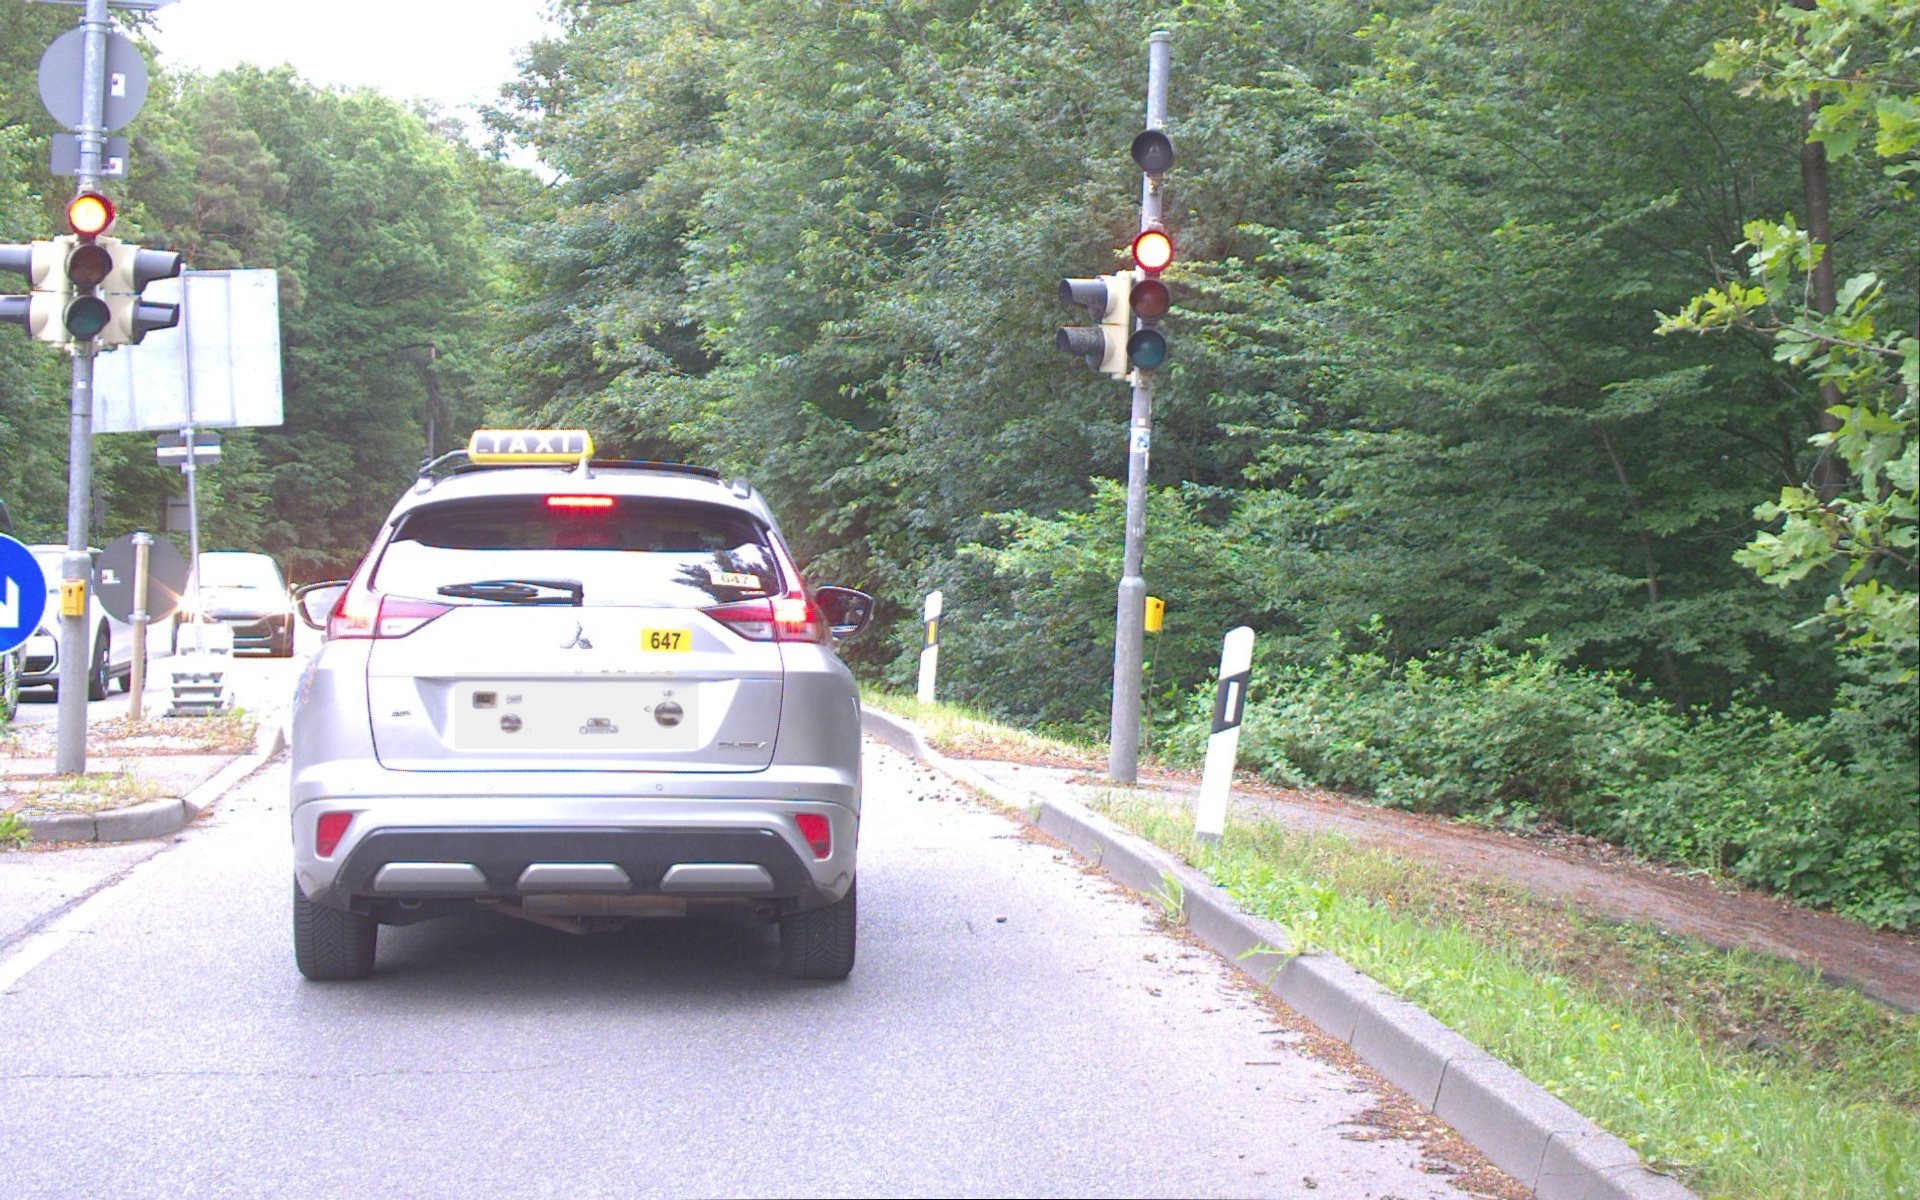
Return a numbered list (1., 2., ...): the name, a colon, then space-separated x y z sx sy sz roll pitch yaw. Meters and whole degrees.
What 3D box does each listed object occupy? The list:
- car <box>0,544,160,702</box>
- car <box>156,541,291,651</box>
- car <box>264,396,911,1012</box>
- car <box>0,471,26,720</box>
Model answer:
1. car: -8.554 0.181 31.883 1.612 1.317 3.722 -1 2 -4
2. car: -10.742 -0.073 50.219 1.811 1.503 3.722 -2 1 -12
3. car: -1.297 0.270 12.091 1.846 1.774 4.001 1 1 -6
4. car: -8.122 -0.009 24.556 1.993 1.887 4.840 -1 1 -5
